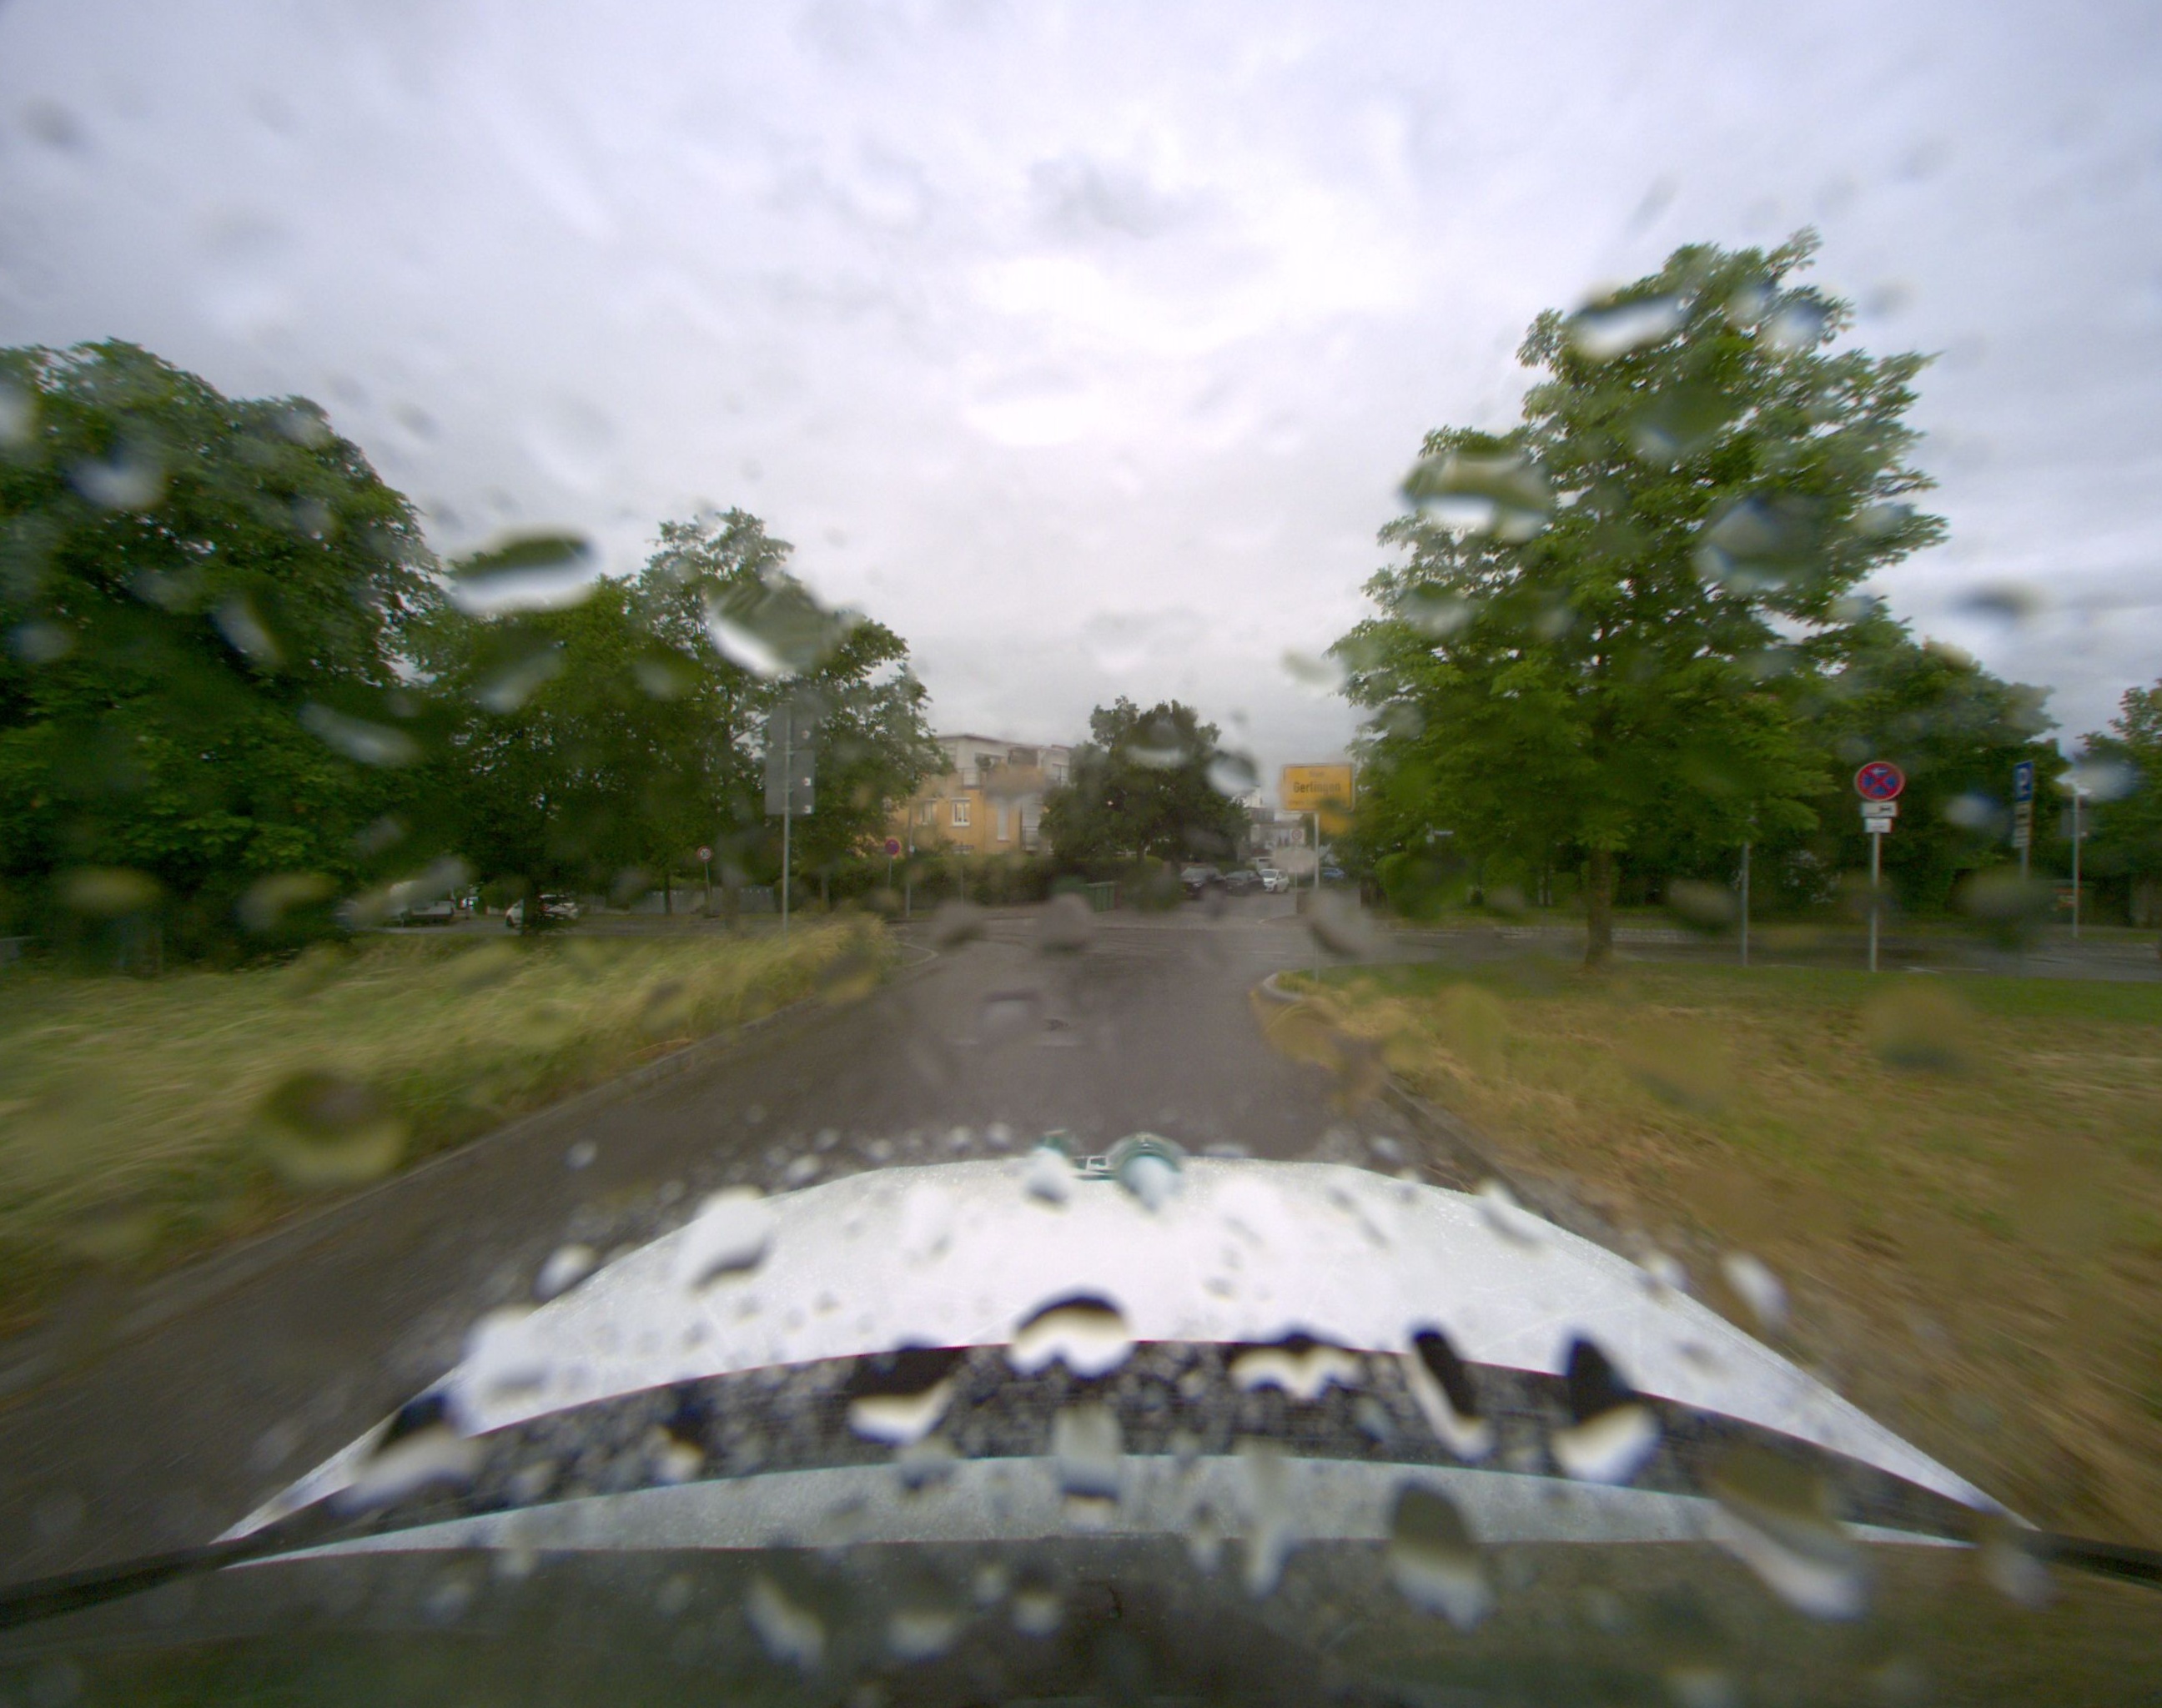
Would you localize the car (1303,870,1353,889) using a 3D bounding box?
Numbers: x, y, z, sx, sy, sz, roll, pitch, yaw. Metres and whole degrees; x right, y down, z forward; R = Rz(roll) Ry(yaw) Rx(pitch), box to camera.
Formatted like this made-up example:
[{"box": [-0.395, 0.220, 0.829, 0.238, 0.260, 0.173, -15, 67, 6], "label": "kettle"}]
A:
[{"box": [21.551, 2.211, 71.076, 3.950, 1.568, 1.919, 1, -1, 27], "label": "car"}]

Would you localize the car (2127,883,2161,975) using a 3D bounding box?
[{"box": [18.999, 1.193, 12.319, 3.513, 1.479, 1.688, -1, -2, 20], "label": "car"}]

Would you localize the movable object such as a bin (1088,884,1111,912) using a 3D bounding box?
[{"box": [0.724, 1.710, 31.645, 0.688, 1.067, 0.582, -1, -1, 22], "label": "movable object such as a bin"}]

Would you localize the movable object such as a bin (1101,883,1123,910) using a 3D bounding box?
[{"box": [1.263, 1.724, 32.931, 0.688, 1.055, 0.608, -1, -1, 22], "label": "movable object such as a bin"}]

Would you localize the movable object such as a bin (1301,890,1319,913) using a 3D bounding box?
[{"box": [9.529, 1.975, 33.854, 0.565, 0.931, 0.533, 0, -2, 35], "label": "movable object such as a bin"}]

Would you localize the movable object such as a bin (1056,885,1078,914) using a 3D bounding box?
[{"box": [-0.517, 1.722, 30.774, 0.659, 1.073, 0.546, -1, -1, 23], "label": "movable object such as a bin"}]

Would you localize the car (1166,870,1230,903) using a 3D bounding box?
[{"box": [6.025, 1.606, 41.671, 1.758, 1.518, 4.162, 2, 0, 30], "label": "car"}]

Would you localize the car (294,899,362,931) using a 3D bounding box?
[{"box": [-40.213, 3.217, 43.484, 3.649, 1.552, 1.702, -1, -2, 32], "label": "car"}]

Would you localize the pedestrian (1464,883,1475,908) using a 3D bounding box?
[{"box": [19.689, 2.101, 41.294, 0.422, 1.230, 0.424, -2, -3, 38], "label": "pedestrian"}]

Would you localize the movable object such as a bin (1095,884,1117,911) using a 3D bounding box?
[{"box": [0.999, 1.718, 32.206, 0.688, 1.055, 0.608, -1, -1, 22], "label": "movable object such as a bin"}]

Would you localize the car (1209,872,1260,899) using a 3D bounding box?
[{"box": [8.840, 1.778, 46.760, 1.619, 1.409, 3.627, 2, 0, 32], "label": "car"}]

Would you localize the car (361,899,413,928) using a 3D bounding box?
[{"box": [-41.576, 3.517, 48.749, 3.649, 1.552, 1.702, -1, -1, 39], "label": "car"}]

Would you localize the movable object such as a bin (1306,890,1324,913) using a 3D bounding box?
[{"box": [9.867, 1.989, 34.328, 0.565, 0.931, 0.533, 0, -2, 35], "label": "movable object such as a bin"}]

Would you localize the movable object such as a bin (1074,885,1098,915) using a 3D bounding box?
[{"box": [0.191, 1.717, 30.564, 0.688, 1.075, 0.605, -1, -1, 22], "label": "movable object such as a bin"}]

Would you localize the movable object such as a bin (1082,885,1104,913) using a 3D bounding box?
[{"box": [0.451, 1.713, 31.117, 0.688, 1.075, 0.546, -1, -1, 22], "label": "movable object such as a bin"}]

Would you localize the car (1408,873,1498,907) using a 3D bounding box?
[{"box": [19.455, 1.878, 42.672, 3.948, 1.664, 1.791, -2, -2, 38], "label": "car"}]

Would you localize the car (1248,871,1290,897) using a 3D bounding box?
[{"box": [11.828, 1.859, 51.088, 1.496, 1.476, 3.294, 2, 0, 33], "label": "car"}]

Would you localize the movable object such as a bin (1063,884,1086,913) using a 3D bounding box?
[{"box": [-0.264, 1.716, 31.353, 0.688, 1.072, 0.601, -1, -1, 22], "label": "movable object such as a bin"}]

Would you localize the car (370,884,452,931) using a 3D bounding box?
[{"box": [-37.486, 3.008, 45.535, 5.438, 2.468, 2.138, -4, -3, 35], "label": "car"}]

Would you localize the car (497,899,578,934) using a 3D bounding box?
[{"box": [-24.836, 2.867, 37.182, 3.678, 1.503, 1.621, -3, -3, 31], "label": "car"}]
